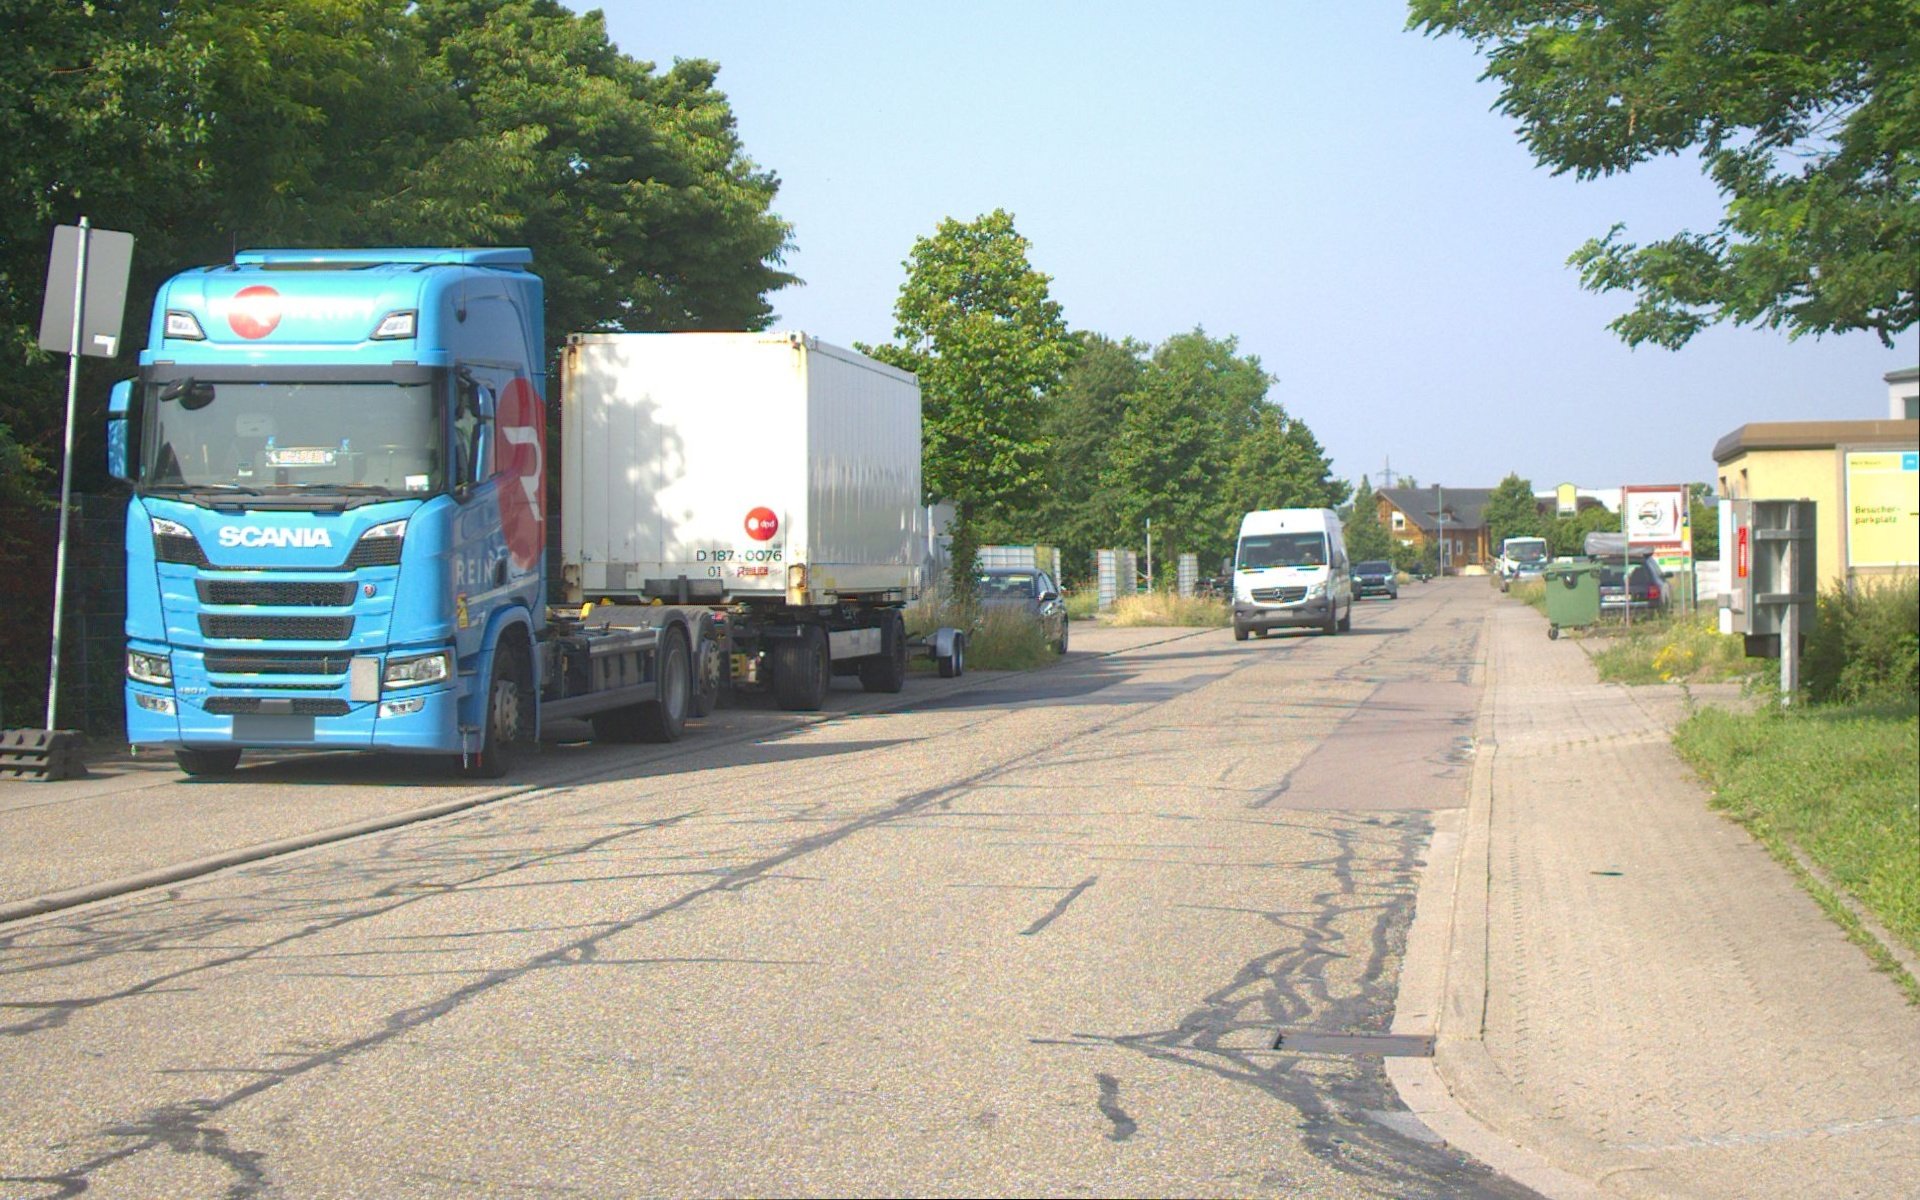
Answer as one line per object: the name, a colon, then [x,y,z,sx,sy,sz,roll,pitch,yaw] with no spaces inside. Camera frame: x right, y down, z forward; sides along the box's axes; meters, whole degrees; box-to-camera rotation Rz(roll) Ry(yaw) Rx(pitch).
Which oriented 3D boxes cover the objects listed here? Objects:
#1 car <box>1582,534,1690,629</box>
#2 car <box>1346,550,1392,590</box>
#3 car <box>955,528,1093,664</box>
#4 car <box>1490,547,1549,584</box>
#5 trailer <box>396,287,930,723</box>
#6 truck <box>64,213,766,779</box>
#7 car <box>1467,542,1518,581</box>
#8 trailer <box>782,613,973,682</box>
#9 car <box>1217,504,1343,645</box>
car: [12.967,-0.353,66.111,1.792,1.744,3.999,1,0,8]
car: [17.325,-1.257,145.699,1.639,1.656,4.000,1,0,3]
car: [0.964,-0.090,53.610,1.993,2.007,4.000,-1,1,-1]
car: [23.300,-1.416,143.360,1.786,1.490,3.745,1,0,-1]
trailer: [-2.699,-0.869,36.398,2.832,3.829,12.032,1,0,9]
truck: [-3.999,-0.732,28.165,2.826,3.812,9.669,1,0,9]
car: [25.690,-1.839,166.073,1.771,1.809,4.000,1,0,-1]
trailer: [-1.042,0.612,45.644,1.897,0.758,3.999,-1,1,8]
car: [6.401,-0.501,69.482,2.214,2.677,6.852,1,0,3]
